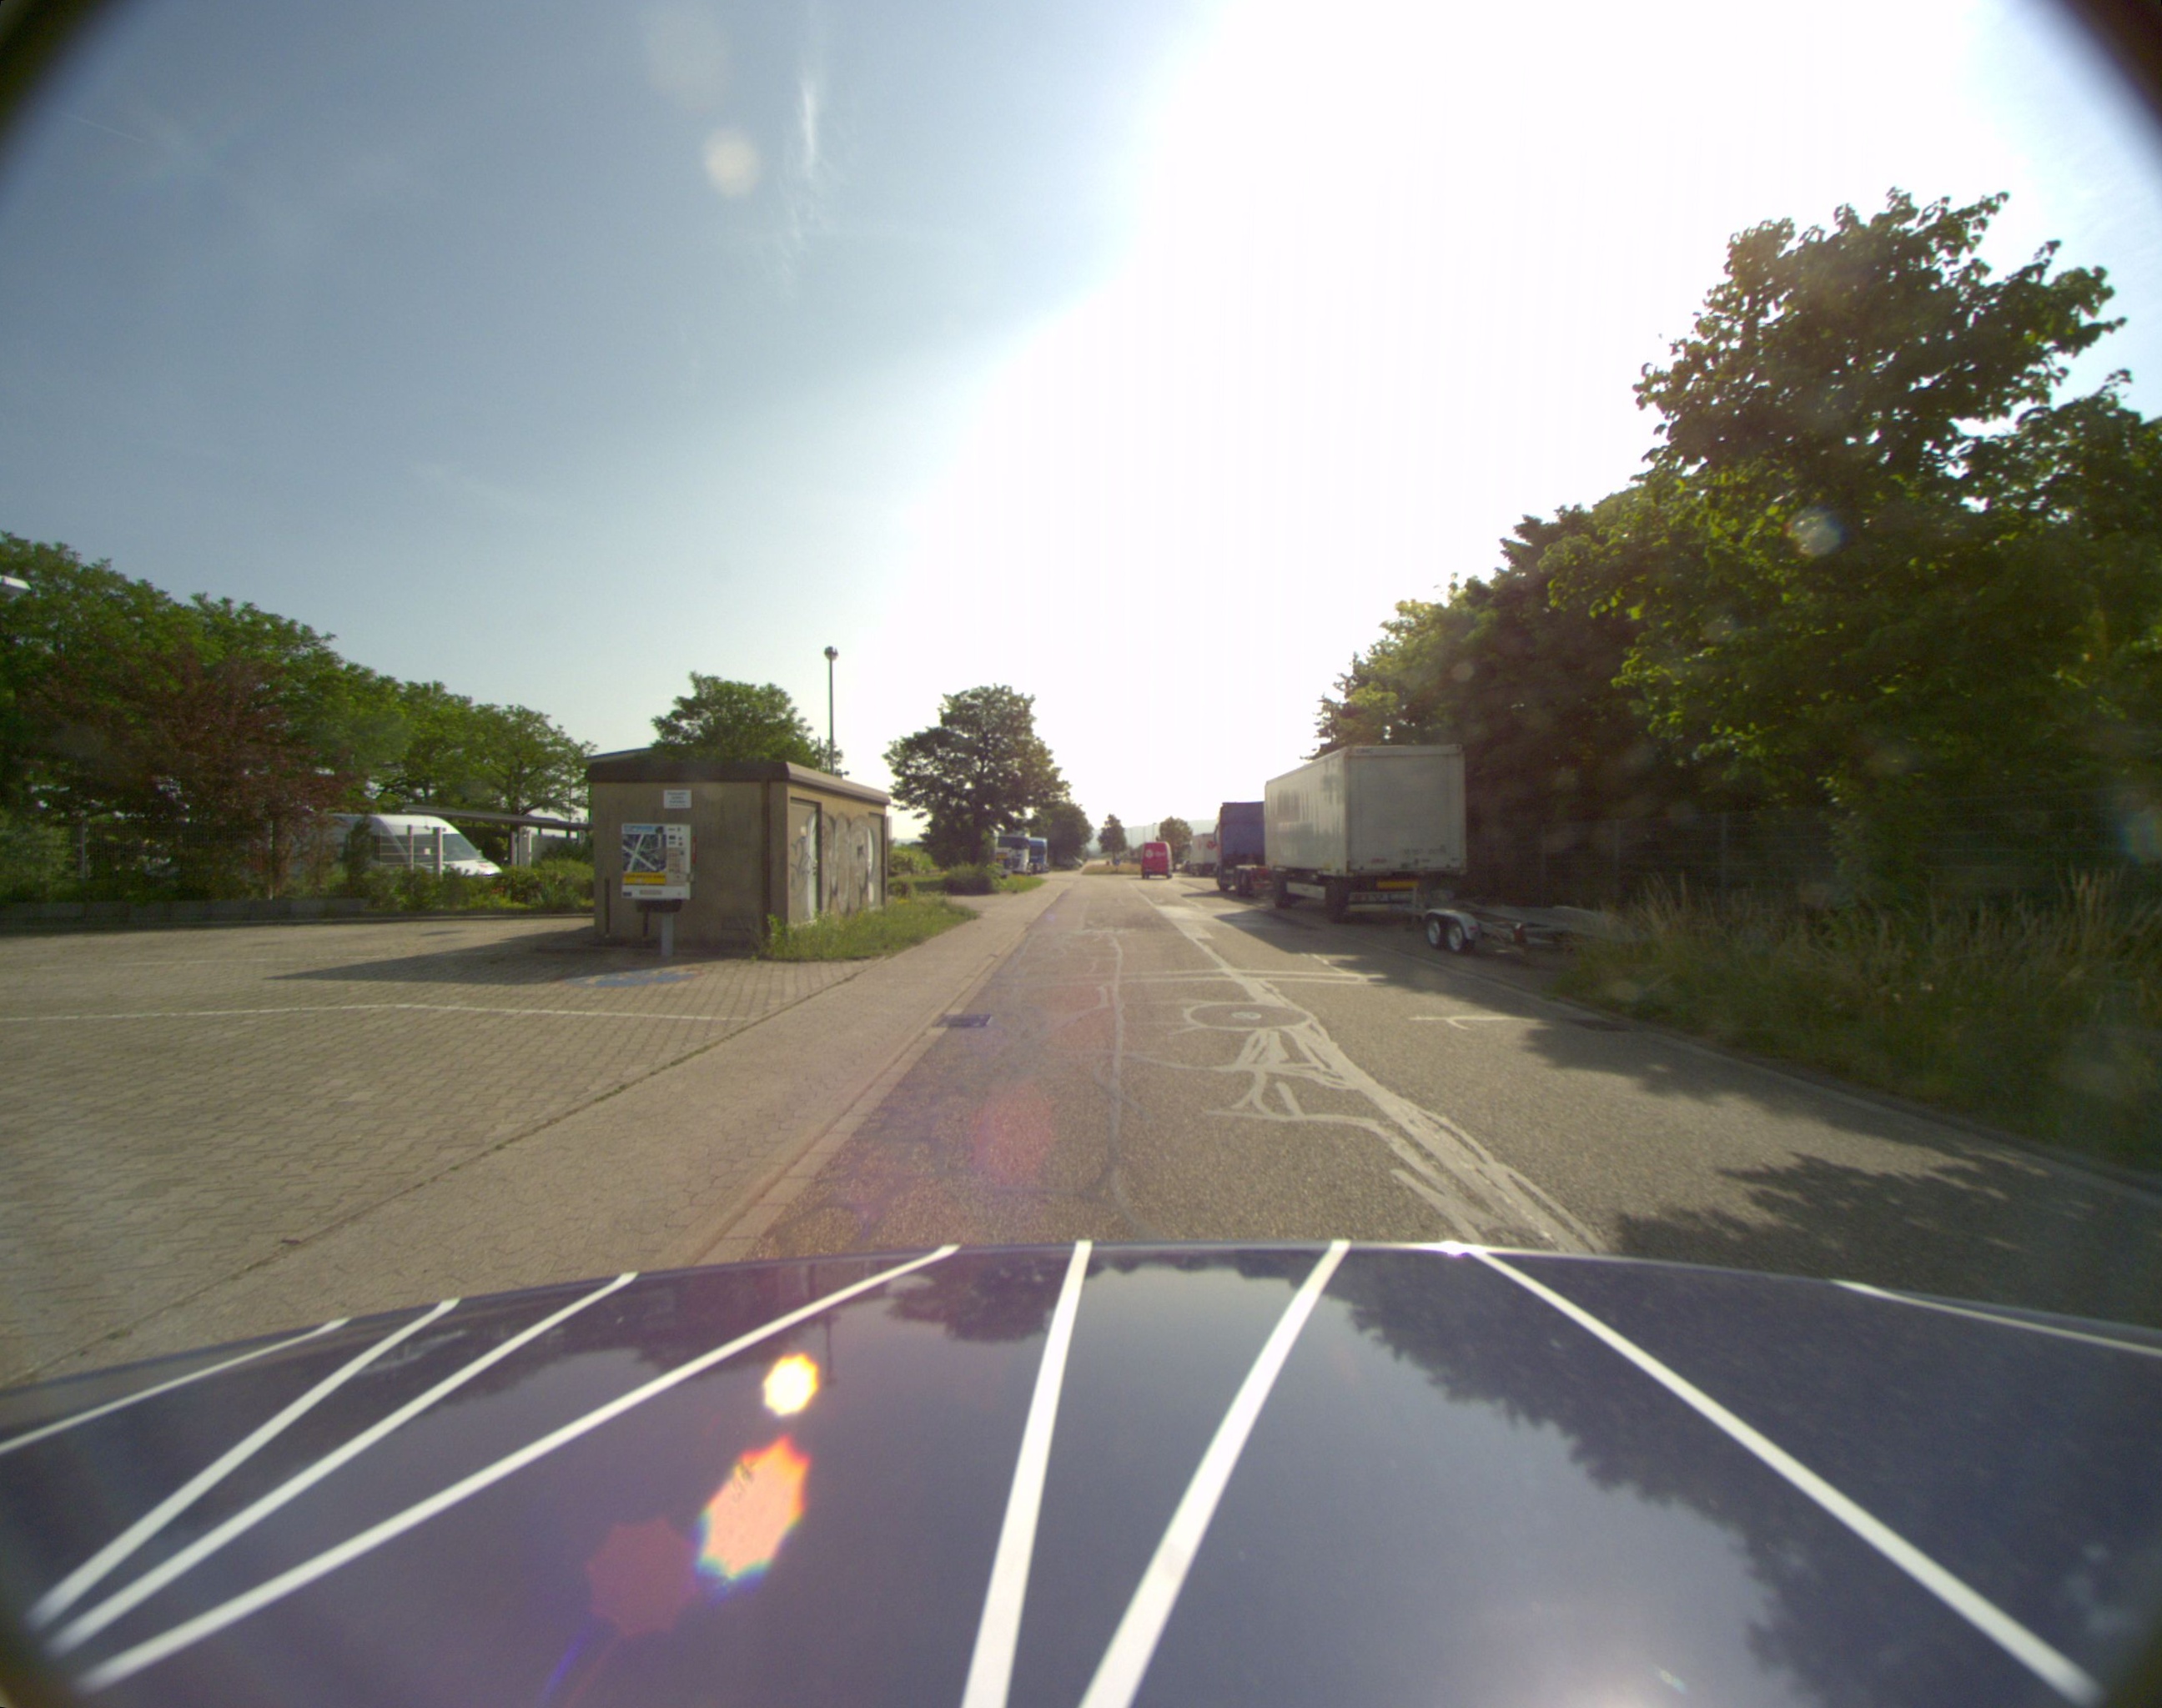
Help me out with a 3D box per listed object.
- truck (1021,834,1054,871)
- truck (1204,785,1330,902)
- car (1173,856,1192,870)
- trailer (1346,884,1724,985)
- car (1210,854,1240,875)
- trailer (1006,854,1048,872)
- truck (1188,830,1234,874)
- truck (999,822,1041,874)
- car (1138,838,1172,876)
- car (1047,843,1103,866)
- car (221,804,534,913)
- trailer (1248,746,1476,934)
[{"bbox_3d":[-4.827,-0.158,85.766,3.043,3.916,10.578,0,0,0],"label":"truck"},{"bbox_3d":[7.038,-0.373,30.347,2.720,3.862,9.635,-1,0,1],"label":"truck"},{"bbox_3d":[11.573,1.008,86.914,1.735,1.573,3.967,-2,0,1],"label":"car"},{"bbox_3d":[6.835,1.147,12.750,2.655,0.979,6.243,1,0,1],"label":"trailer"},{"bbox_3d":[12.041,0.857,63.756,1.767,1.583,4.193,-2,0,0],"label":"car"},{"bbox_3d":[-4.881,0.765,71.390,2.553,1.383,14.136,1,0,1],"label":"trailer"},{"bbox_3d":[12.123,-0.189,71.528,2.783,3.831,10.063,1,0,1],"label":"truck"},{"bbox_3d":[-4.991,-0.474,63.536,2.559,3.958,8.581,2,1,1],"label":"truck"},{"bbox_3d":[5.300,0.208,55.401,1.998,2.532,6.990,1,0,2],"label":"car"},{"bbox_3d":[-0.934,0.068,114.894,8.150,3.217,2.663,-1,1,-4],"label":"car"},{"bbox_3d":[-18.211,0.146,19.805,6.735,2.524,2.282,-1,1,10],"label":"car"},{"bbox_3d":[6.933,-0.314,20.727,2.706,3.862,9.764,-1,0,1],"label":"trailer"}]
